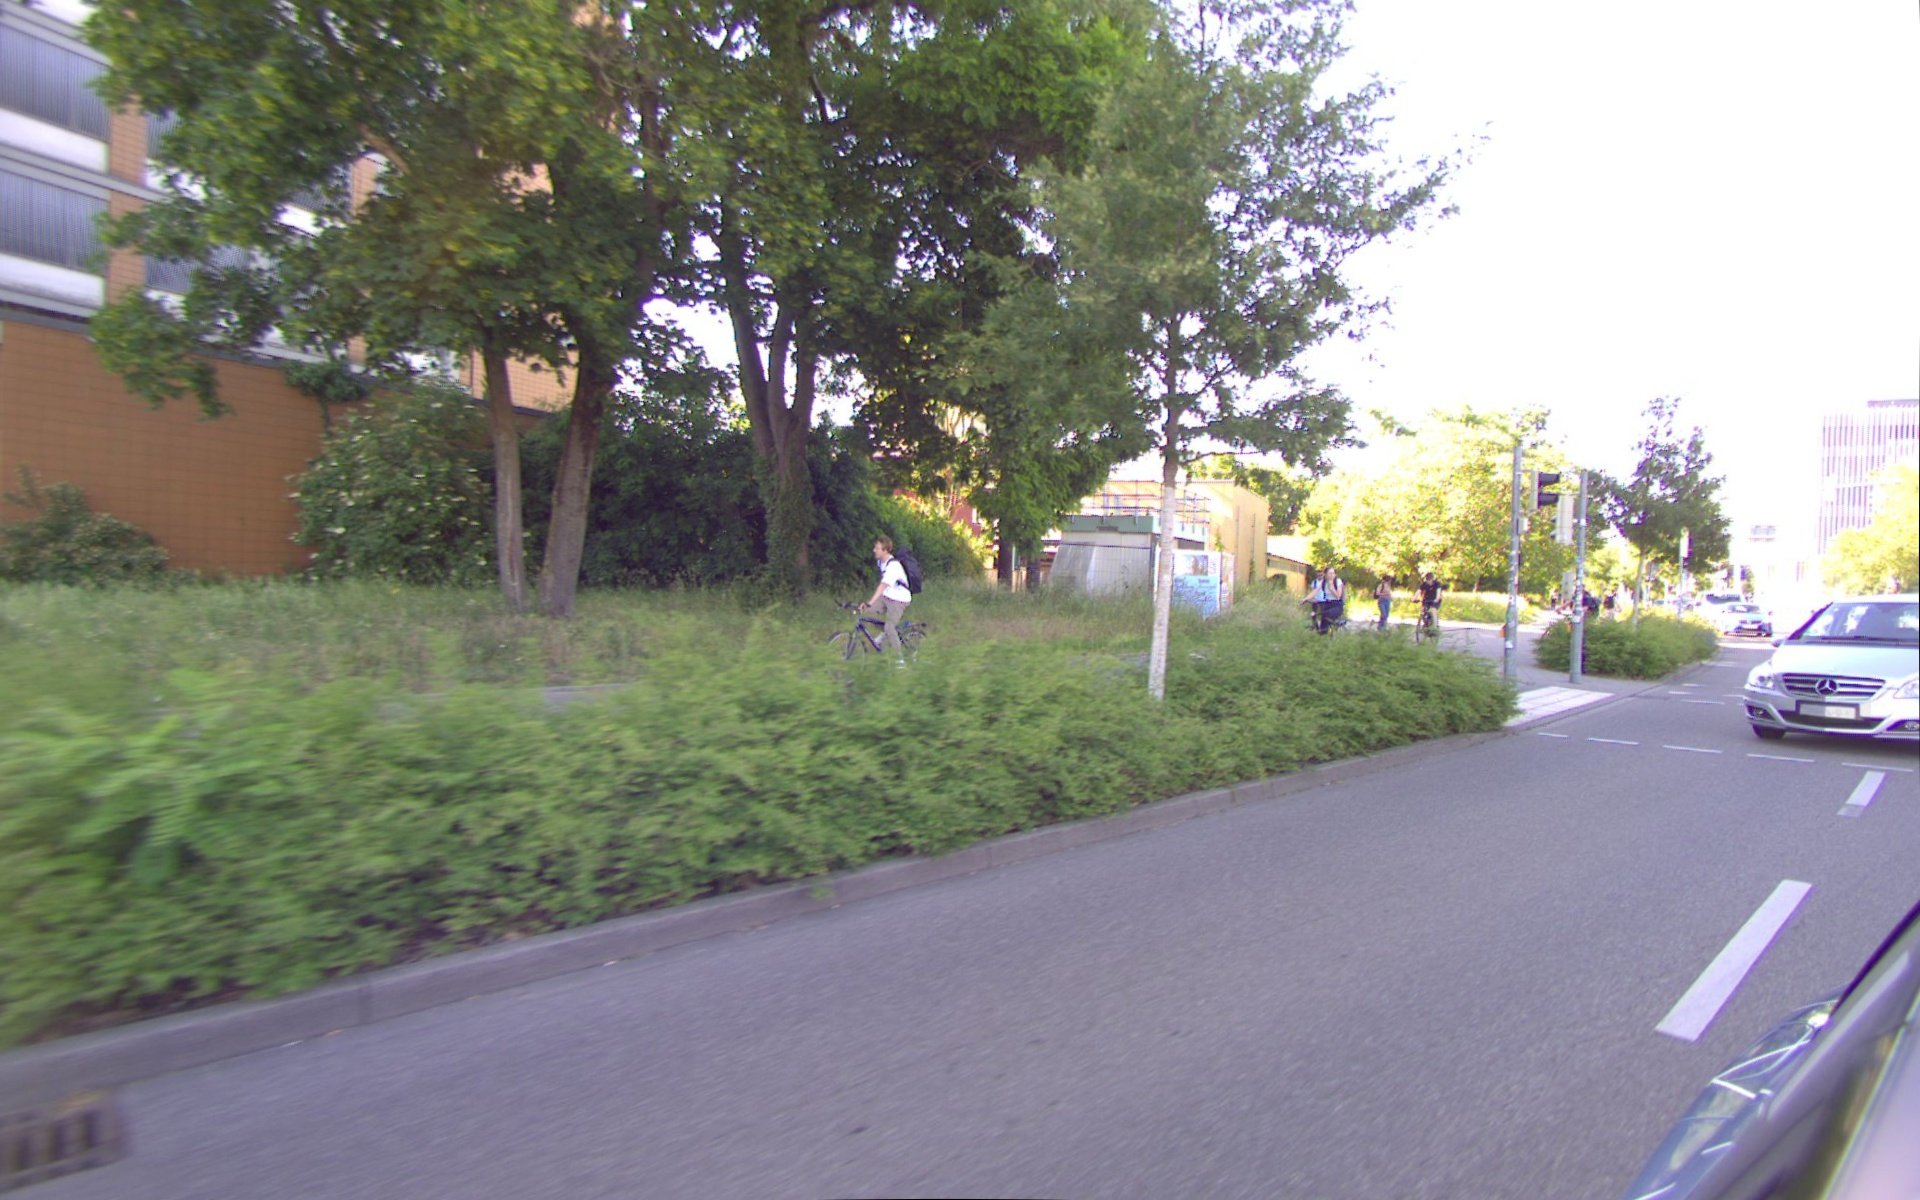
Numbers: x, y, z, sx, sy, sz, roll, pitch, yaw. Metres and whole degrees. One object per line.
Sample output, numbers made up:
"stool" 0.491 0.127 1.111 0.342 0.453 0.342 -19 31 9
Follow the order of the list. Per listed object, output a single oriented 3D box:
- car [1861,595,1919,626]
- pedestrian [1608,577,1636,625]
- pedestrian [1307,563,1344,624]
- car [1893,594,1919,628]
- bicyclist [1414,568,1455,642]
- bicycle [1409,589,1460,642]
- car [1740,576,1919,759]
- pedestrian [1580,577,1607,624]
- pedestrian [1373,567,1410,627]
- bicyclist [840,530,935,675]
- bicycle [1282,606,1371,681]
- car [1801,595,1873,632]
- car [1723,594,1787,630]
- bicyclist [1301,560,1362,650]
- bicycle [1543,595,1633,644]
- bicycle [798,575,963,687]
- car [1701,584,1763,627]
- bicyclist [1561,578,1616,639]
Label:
"car" 49.964 0.527 54.040 1.968 1.574 4.670 1 0 31
"pedestrian" 25.600 0.035 39.145 0.724 1.839 0.729 4 -2 -45
"pedestrian" 10.347 -0.172 28.649 0.664 1.664 0.737 3 -1 -7
"car" 45.988 0.534 47.751 1.968 1.574 4.670 1 0 31
"bicyclist" 11.081 0.114 23.622 0.640 1.666 0.765 2 1 40
"bicycle" 11.129 0.343 23.693 0.640 1.179 1.844 2 1 39
"car" 10.718 0.599 11.181 4.547 1.613 1.774 -2 2 -31
"pedestrian" 24.961 0.027 39.864 0.724 1.804 0.729 4 -2 -45
"pedestrian" 12.327 -0.082 28.929 0.664 1.664 0.736 3 -1 -3
"bicyclist" -0.854 0.019 11.929 0.819 1.614 0.630 0 4 -44
"bicycle" 6.294 0.711 17.320 1.839 1.179 0.642 0 3 -44
"car" 38.299 0.548 44.289 1.988 1.487 3.948 2 1 36
"car" 34.285 0.485 43.725 1.691 1.460 3.955 1 0 31
"bicyclist" 6.361 0.074 17.330 0.764 1.462 0.642 0 3 -44
"bicycle" 15.427 0.480 24.874 1.833 1.180 0.644 1 0 -5
"bicycle" -0.903 0.335 11.924 1.925 1.179 0.642 0 4 -44
"car" 37.751 0.247 49.592 1.924 1.977 4.703 1 0 31
"bicyclist" 15.451 0.205 24.882 0.934 1.462 0.644 1 0 -6
